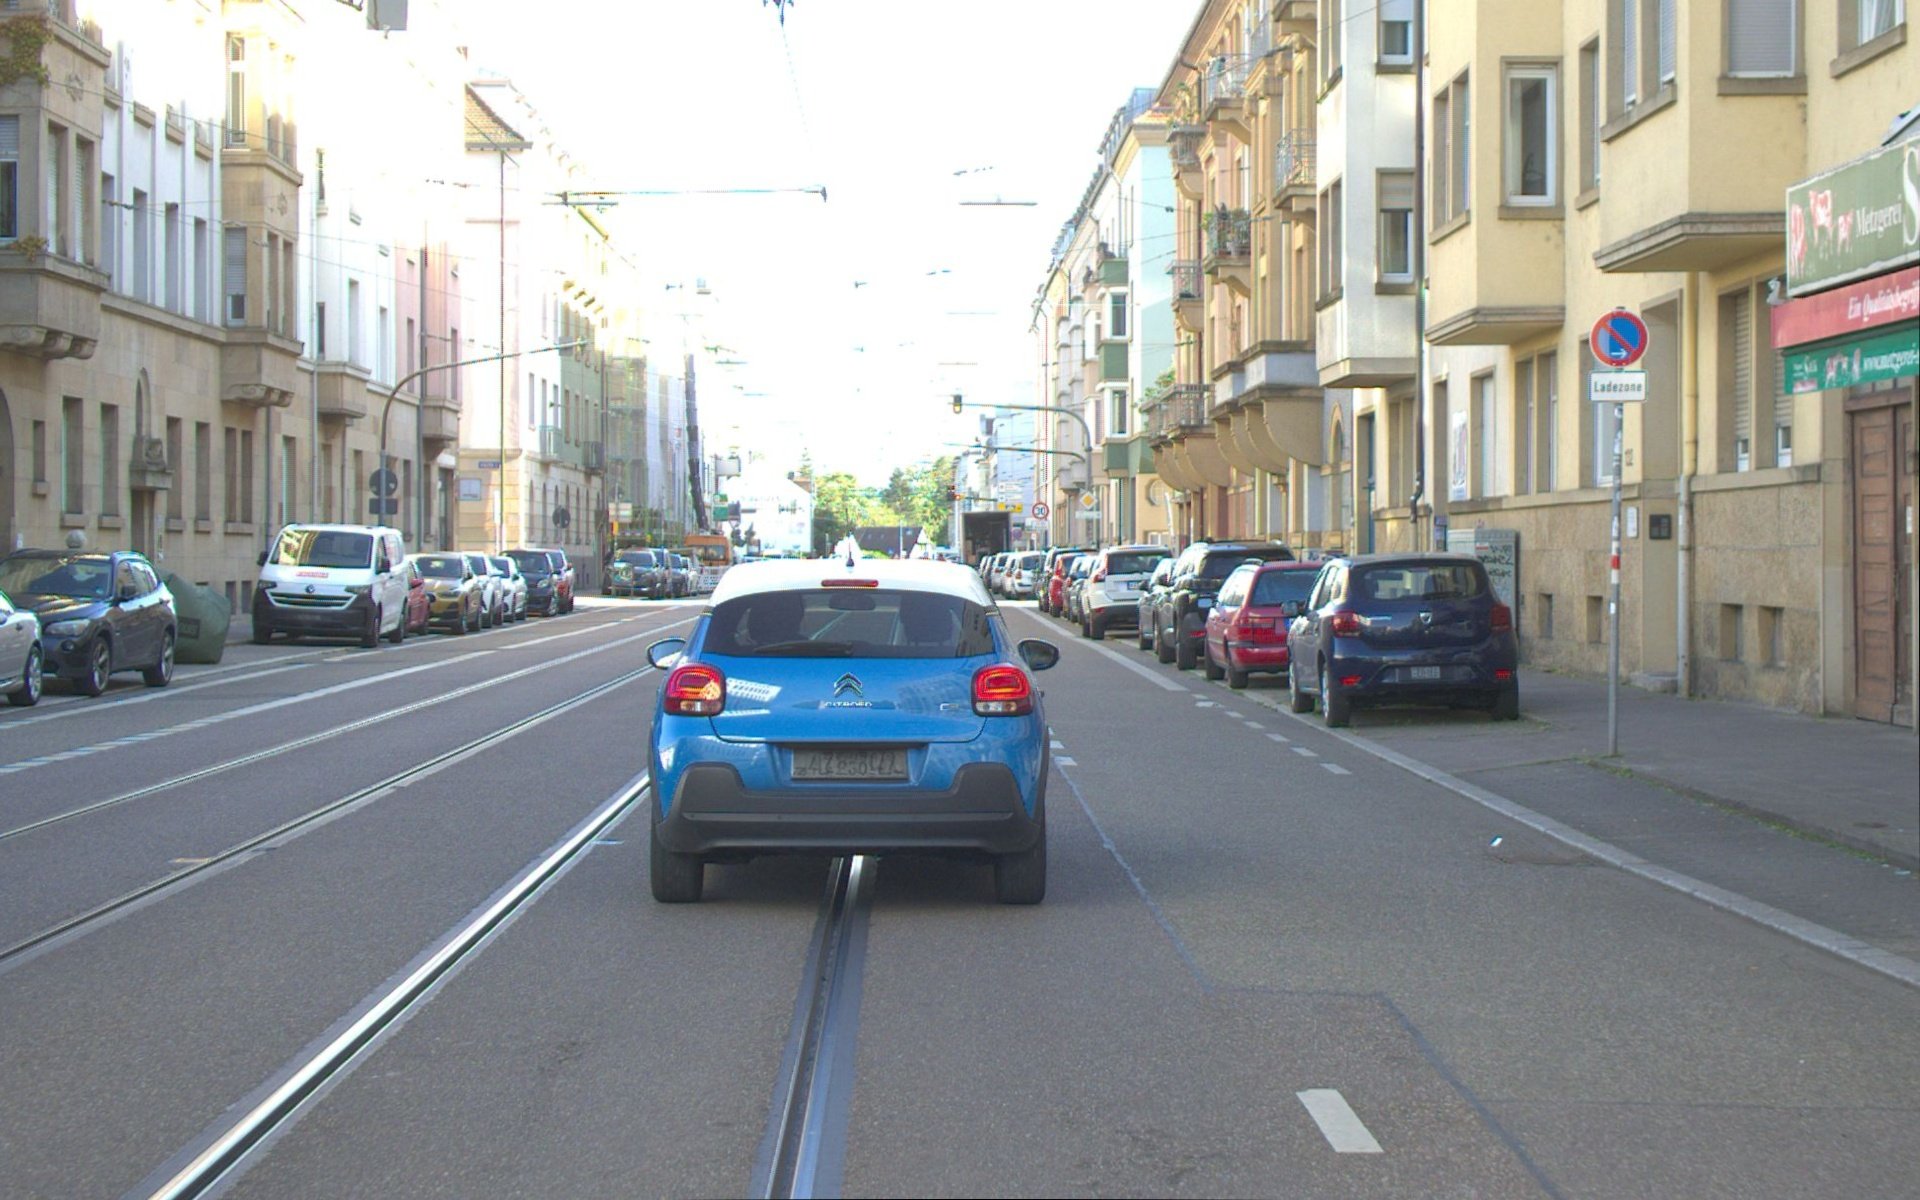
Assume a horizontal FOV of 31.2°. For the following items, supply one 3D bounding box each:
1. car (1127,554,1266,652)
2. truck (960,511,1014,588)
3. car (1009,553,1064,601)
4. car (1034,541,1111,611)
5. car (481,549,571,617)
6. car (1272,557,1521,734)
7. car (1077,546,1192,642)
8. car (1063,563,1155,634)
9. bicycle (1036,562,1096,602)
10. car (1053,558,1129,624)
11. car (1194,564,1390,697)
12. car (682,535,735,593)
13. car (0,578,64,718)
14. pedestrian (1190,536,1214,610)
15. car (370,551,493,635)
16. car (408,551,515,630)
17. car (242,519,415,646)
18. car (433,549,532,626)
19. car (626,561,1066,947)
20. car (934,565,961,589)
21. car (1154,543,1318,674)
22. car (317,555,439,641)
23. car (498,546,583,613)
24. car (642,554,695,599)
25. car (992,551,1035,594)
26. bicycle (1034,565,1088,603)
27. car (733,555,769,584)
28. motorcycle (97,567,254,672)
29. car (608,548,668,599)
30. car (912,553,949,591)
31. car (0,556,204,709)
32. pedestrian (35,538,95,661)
[{"bbox_3d":[3.570,0.017,52.455,1.737,1.437,4.033,0,1,-2],"label":"car"},{"bbox_3d":[1.462,-2.766,188.723,2.853,4.069,11.271,0,1,0],"label":"truck"},{"bbox_3d":[2.601,-0.790,117.806,1.783,1.626,4.000,0,1,0],"label":"car"},{"bbox_3d":[2.949,-0.646,90.867,1.753,1.730,4.507,-3,1,0],"label":"car"},{"bbox_3d":[-10.476,-0.427,83.076,1.783,1.547,3.019,2,1,-1],"label":"car"},{"bbox_3d":[3.922,0.368,31.464,1.718,1.486,4.002,-1,1,0],"label":"car"},{"bbox_3d":[3.162,-0.135,62.898,1.843,1.685,4.505,0,1,0],"label":"car"},{"bbox_3d":[3.183,-0.055,74.000,1.654,1.478,4.474,0,1,-2],"label":"car"},{"bbox_3d":[3.407,-0.585,110.734,1.842,1.150,0.469,-3,1,0],"label":"bicycle"},{"bbox_3d":[3.199,-0.243,84.211,1.753,1.589,3.729,0,1,1],"label":"car"},{"bbox_3d":[3.784,0.307,39.906,1.859,1.450,4.710,0,1,1],"label":"car"},{"bbox_3d":[-11.145,-1.618,152.861,2.144,2.467,4.981,2,1,-3],"label":"car"},{"bbox_3d":[-10.095,0.445,33.200,1.783,1.309,4.221,2,1,-1],"label":"car"},{"bbox_3d":[5.459,-0.609,77.607,0.513,1.681,0.448,0,1,-1],"label":"pedestrian"},{"bbox_3d":[-10.229,-0.153,66.801,1.783,1.518,4.360,2,1,-2],"label":"car"},{"bbox_3d":[-10.413,-0.226,72.064,1.771,1.541,4.366,2,1,-3],"label":"car"},{"bbox_3d":[-10.332,-0.312,56.617,1.973,1.942,5.252,2,1,-2],"label":"car"},{"bbox_3d":[-10.642,-0.300,76.864,1.783,1.616,4.180,2,1,-3],"label":"car"},{"bbox_3d":[-0.477,0.601,15.906,1.735,1.502,3.992,2,1,0],"label":"car"},{"bbox_3d":[-0.818,-1.492,221.974,1.765,1.481,4.031,0,1,0],"label":"car"},{"bbox_3d":[3.637,0.081,45.956,1.859,1.660,4.561,0,1,1],"label":"car"},{"bbox_3d":[-10.495,-0.054,62.193,1.602,1.467,3.646,2,1,-1],"label":"car"},{"bbox_3d":[-10.621,-0.539,87.225,1.783,1.601,4.398,2,1,-3],"label":"car"},{"bbox_3d":[-10.973,-0.891,129.517,1.783,1.621,4.610,2,1,-3],"label":"car"},{"bbox_3d":[2.257,-1.180,146.998,1.730,1.821,4.686,0,1,0],"label":"car"},{"bbox_3d":[3.360,-0.533,114.727,1.722,1.150,0.469,-3,1,0],"label":"bicycle"},{"bbox_3d":[-12.113,-1.771,199.255,1.826,1.626,4.849,0,1,0],"label":"car"},{"bbox_3d":[-10.302,0.244,45.182,0.885,1.346,1.954,1,1,32],"label":"motorcycle"},{"bbox_3d":[-11.043,-0.930,118.152,1.783,1.684,4.668,2,1,-3],"label":"car"},{"bbox_3d":[-1.502,-1.431,173.991,1.821,1.888,4.000,1,1,-1],"label":"car"},{"bbox_3d":[-9.943,0.311,38.526,1.783,1.560,4.610,2,1,1],"label":"car"},{"bbox_3d":[-12.682,-0.009,48.730,0.679,1.718,0.616,1,1,0],"label":"pedestrian"}]
